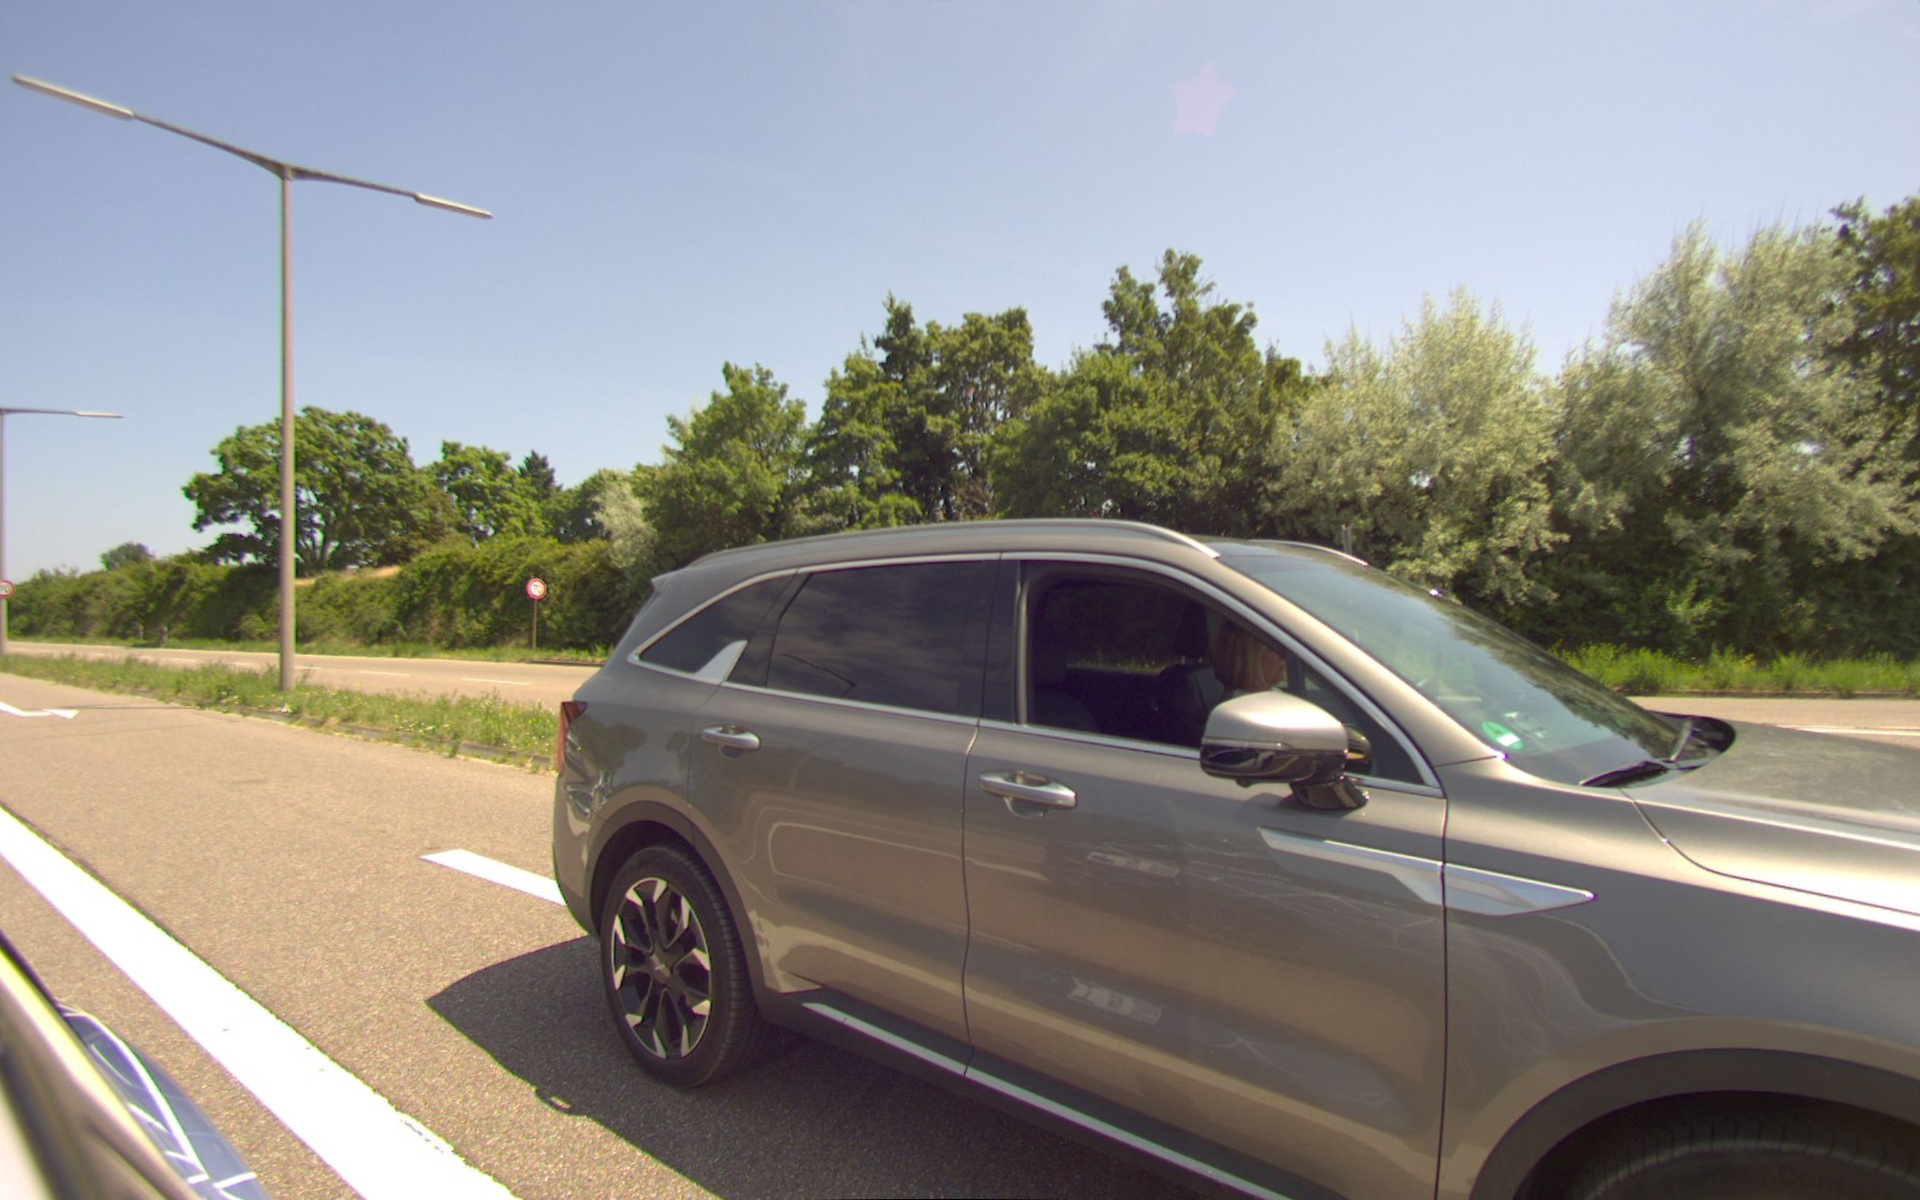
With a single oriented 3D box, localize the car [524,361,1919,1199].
[{"bbox_3d":[0.733,0.578,2.814,4.528,1.681,1.762,-2,-2,40],"label":"car"}]
